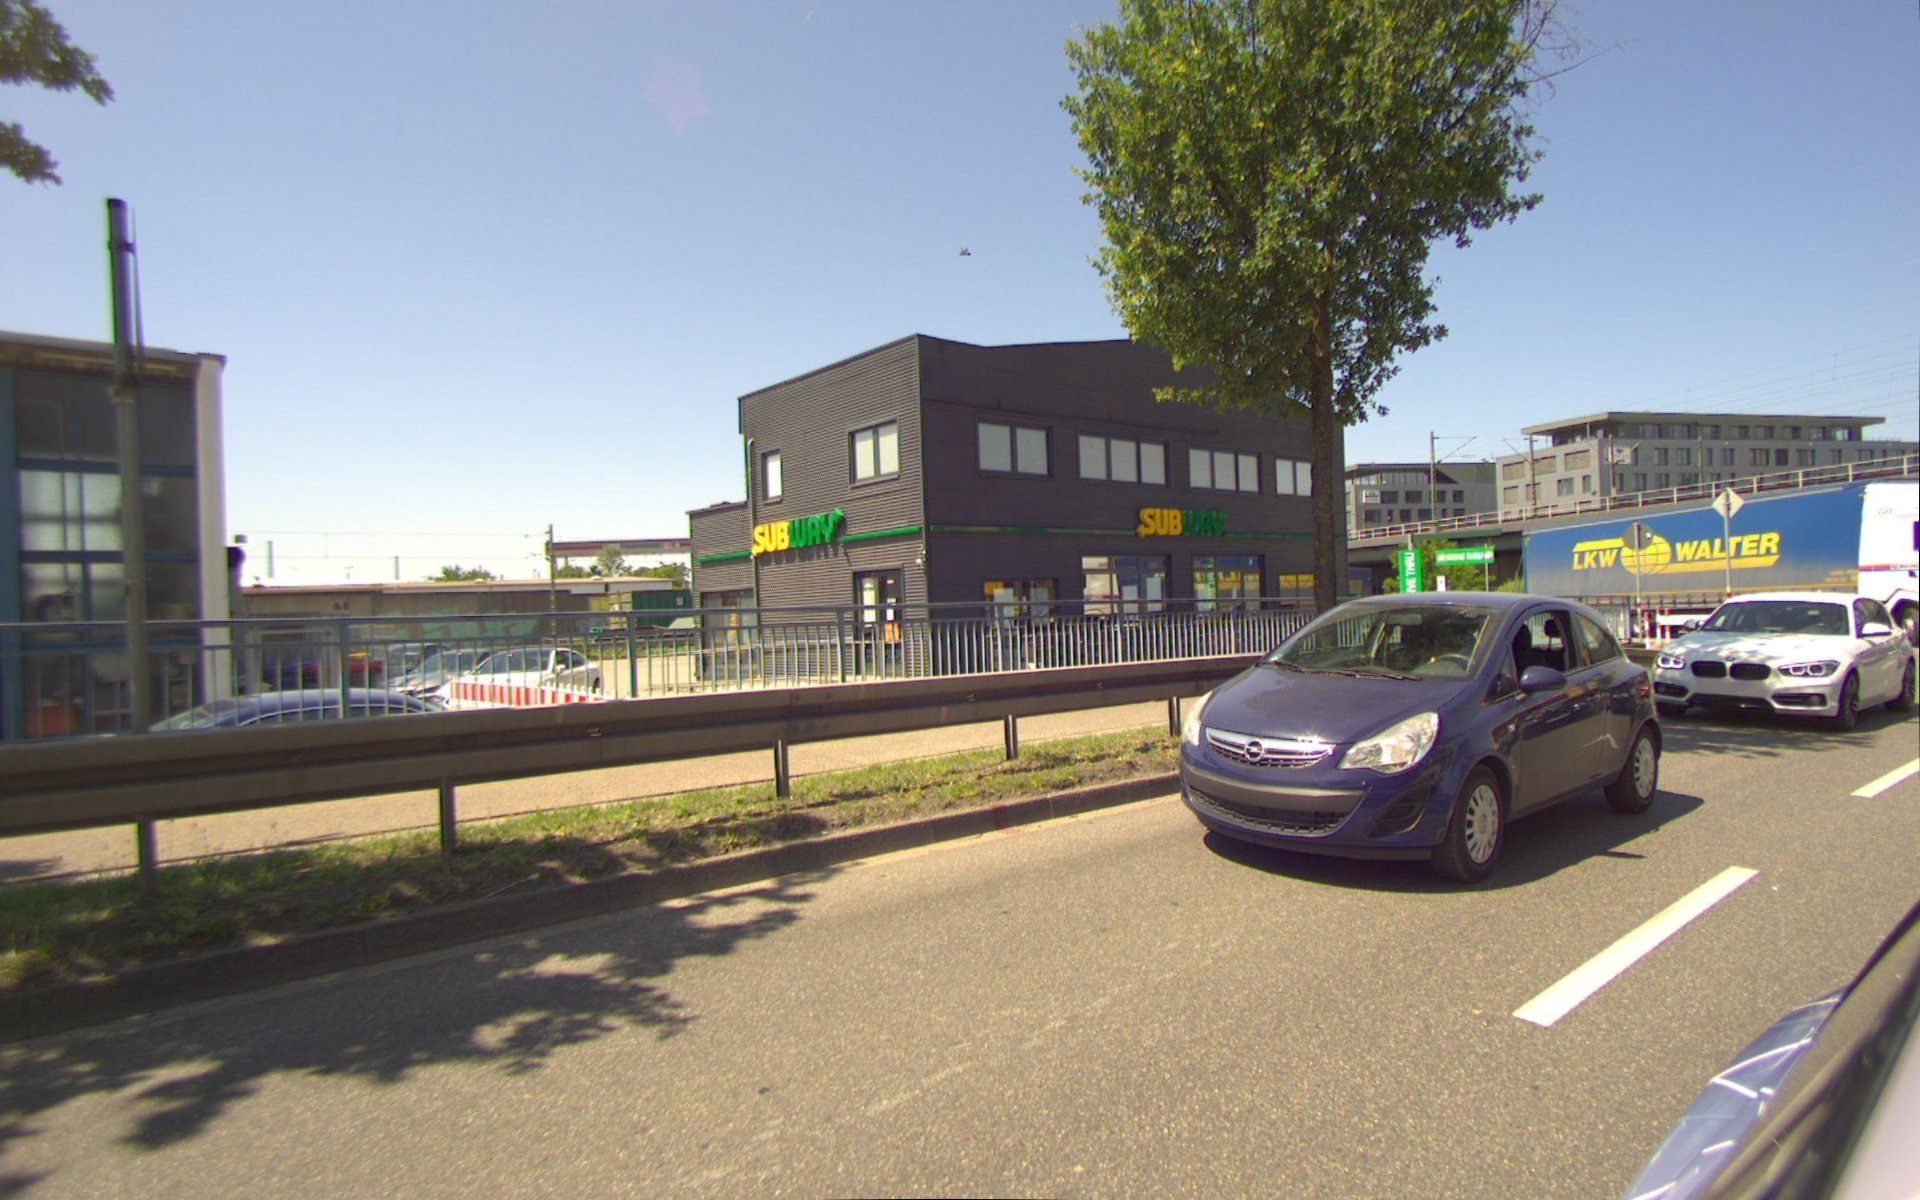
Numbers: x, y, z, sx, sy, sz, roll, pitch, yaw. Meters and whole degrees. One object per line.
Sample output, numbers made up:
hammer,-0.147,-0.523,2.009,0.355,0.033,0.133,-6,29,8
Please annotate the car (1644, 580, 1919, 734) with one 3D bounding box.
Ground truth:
car,9.776,0.521,11.828,3.978,1.461,1.763,-1,2,-37

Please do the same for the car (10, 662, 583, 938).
car,-5.478,1.466,8.729,3.831,1.551,1.636,-2,1,-40

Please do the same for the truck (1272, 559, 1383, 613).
truck,31.056,-1.259,84.637,2.741,4.154,17.187,-1,1,41

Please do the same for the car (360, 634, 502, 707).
car,-14.049,1.816,27.166,1.624,1.578,4.401,-1,1,-2

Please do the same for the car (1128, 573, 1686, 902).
car,2.963,0.596,6.366,3.821,1.462,1.649,-1,0,-39

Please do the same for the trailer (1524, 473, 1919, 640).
trailer,23.718,-1.065,32.163,2.450,4.142,13.919,-1,0,-6

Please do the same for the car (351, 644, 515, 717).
car,-11.542,1.728,22.426,1.454,1.268,3.607,-1,1,6

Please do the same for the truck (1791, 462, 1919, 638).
truck,24.112,-1.200,25.115,2.531,4.154,5.751,-1,-1,6

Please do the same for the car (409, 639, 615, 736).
car,-8.583,1.608,19.996,1.961,1.375,5.085,-1,1,-2
